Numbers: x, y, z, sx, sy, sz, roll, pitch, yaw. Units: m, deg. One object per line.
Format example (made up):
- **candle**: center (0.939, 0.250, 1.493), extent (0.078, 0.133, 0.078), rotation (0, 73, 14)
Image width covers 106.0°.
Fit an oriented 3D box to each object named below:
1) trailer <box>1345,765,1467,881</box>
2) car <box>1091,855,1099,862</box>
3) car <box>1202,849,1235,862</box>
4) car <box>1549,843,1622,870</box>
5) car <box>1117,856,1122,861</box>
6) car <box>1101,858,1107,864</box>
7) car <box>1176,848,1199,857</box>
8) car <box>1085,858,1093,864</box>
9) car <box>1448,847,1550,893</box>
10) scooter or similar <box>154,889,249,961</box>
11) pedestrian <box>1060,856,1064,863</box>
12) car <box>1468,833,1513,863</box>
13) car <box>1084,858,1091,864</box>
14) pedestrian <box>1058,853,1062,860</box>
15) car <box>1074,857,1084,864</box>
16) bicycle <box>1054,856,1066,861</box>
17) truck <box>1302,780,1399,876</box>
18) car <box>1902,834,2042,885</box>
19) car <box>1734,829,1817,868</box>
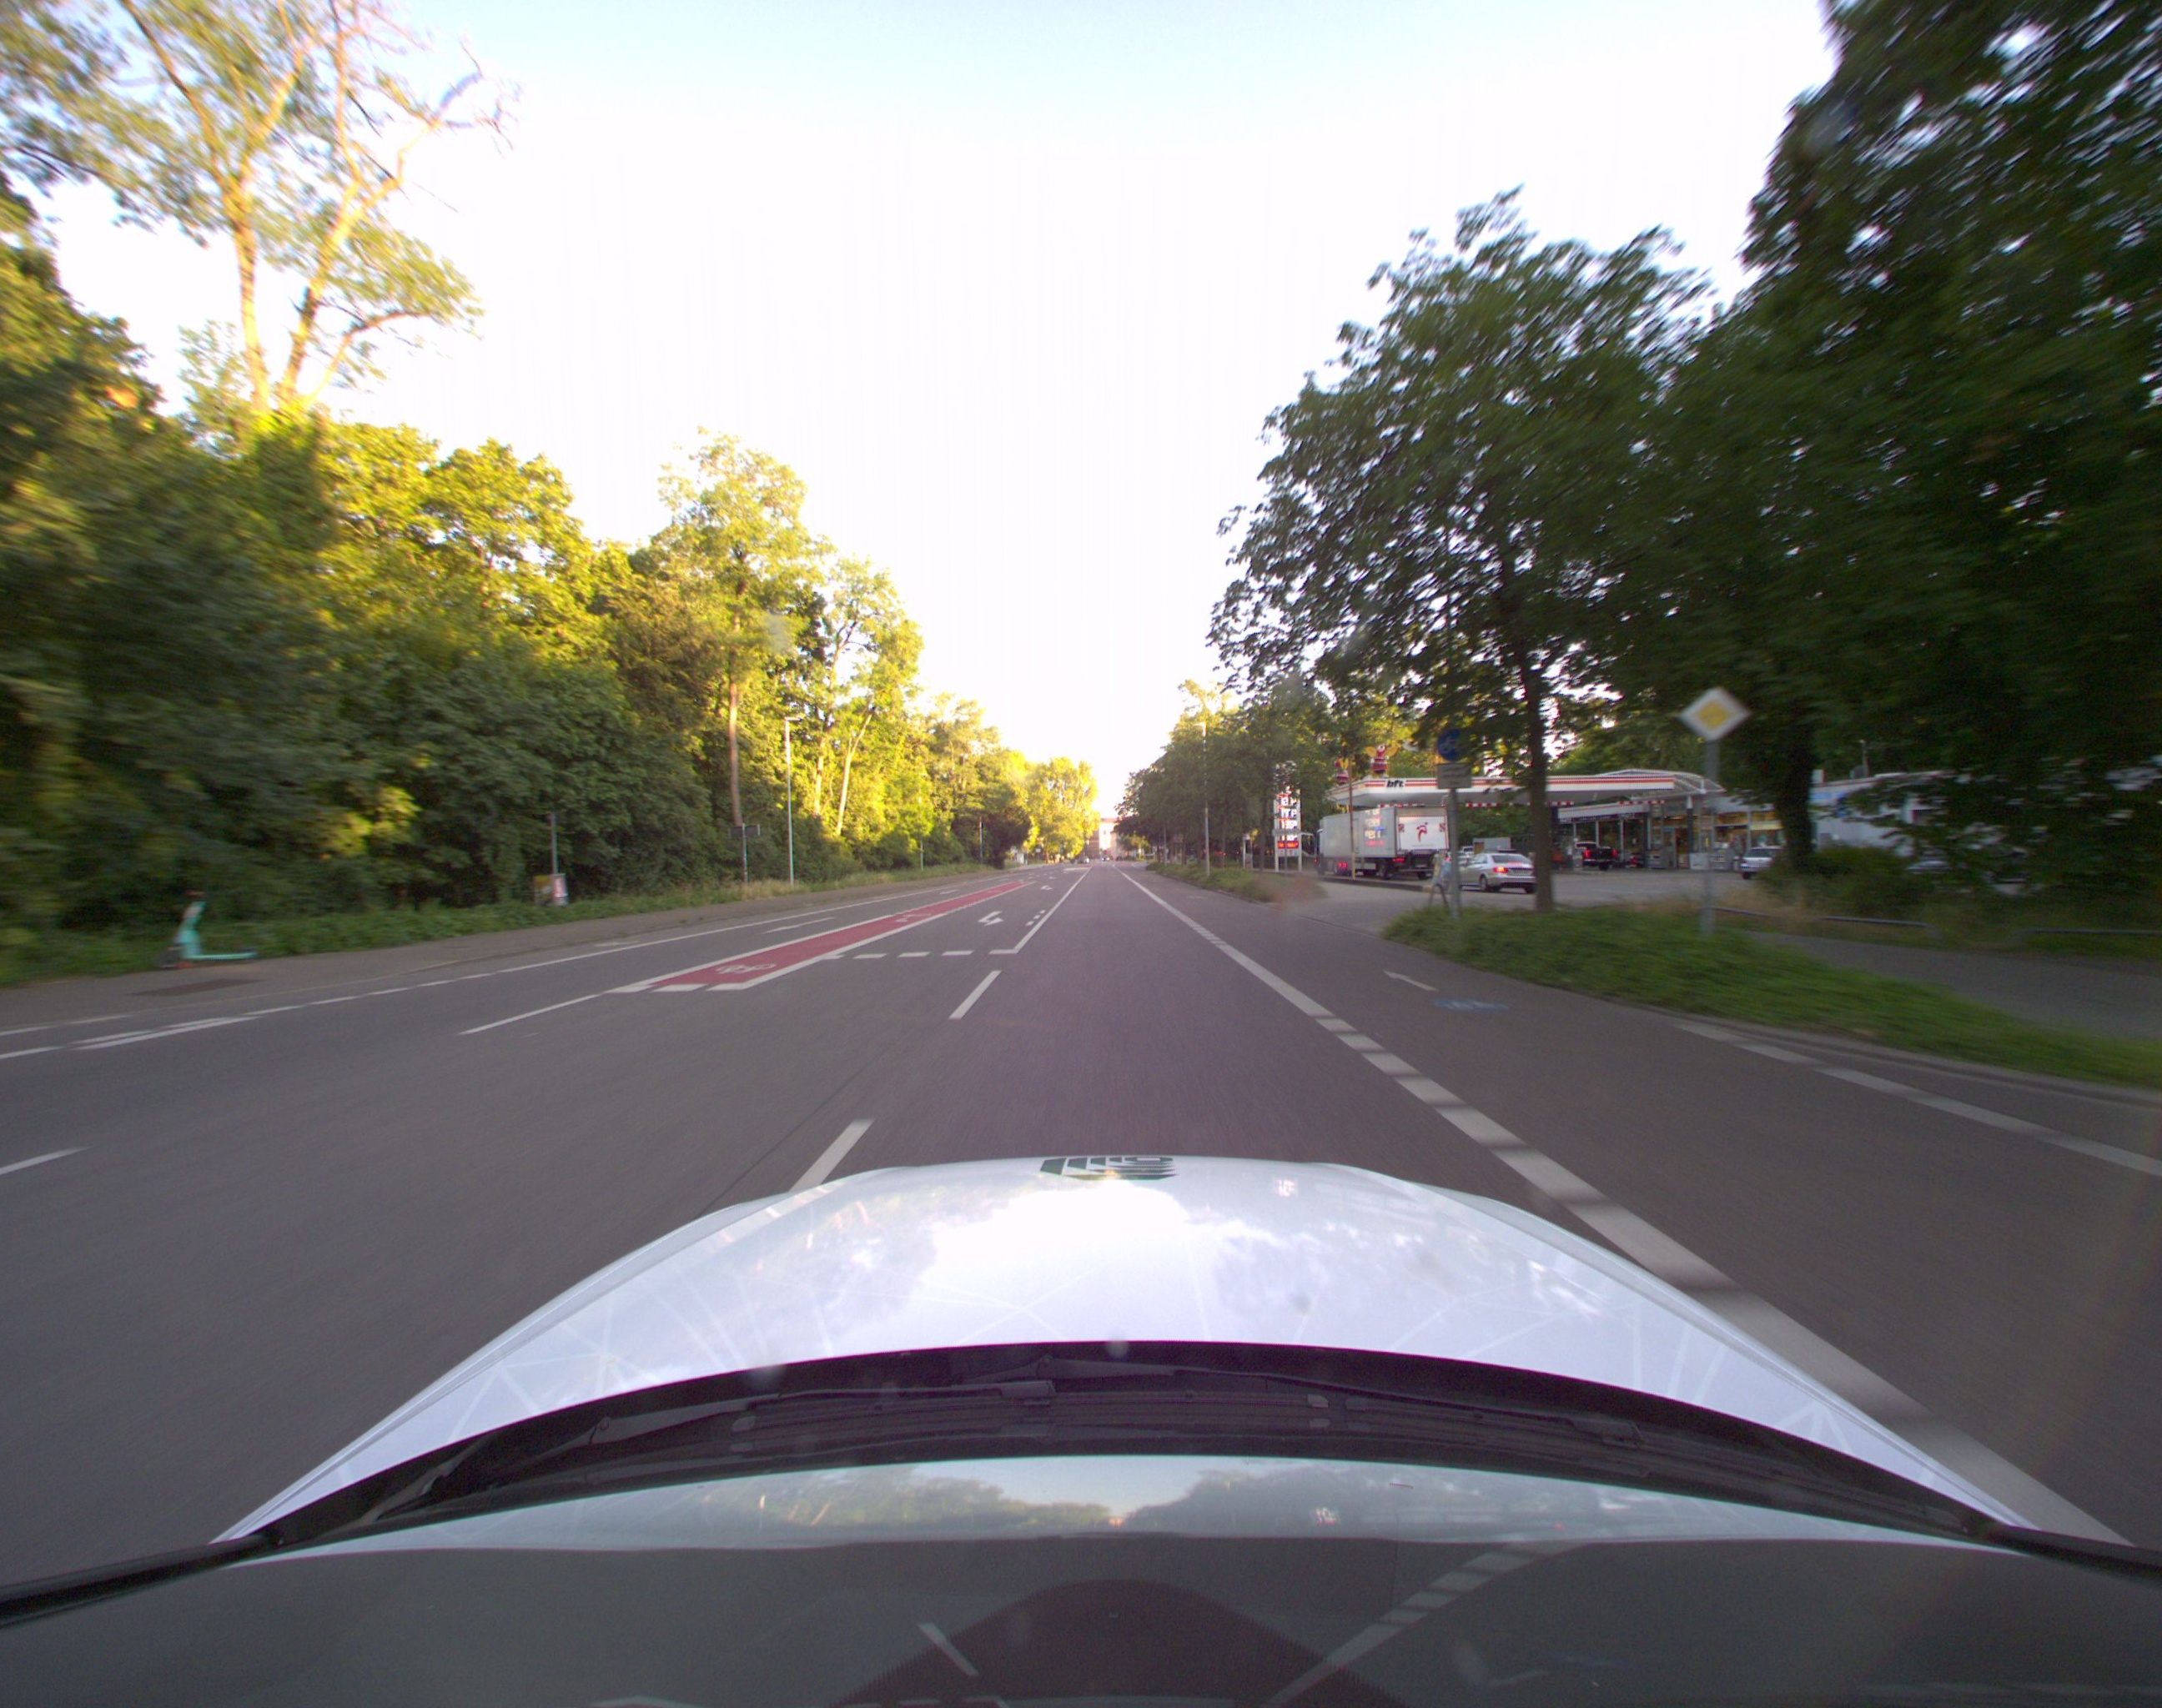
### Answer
- **trailer**: center (16.805, -1.499, 42.808), extent (3.012, 5.462, 7.930), rotation (-1, 0, -1)
- **car**: center (3.134, 1.064, 182.515), extent (1.487, 1.486, 3.492), rotation (-1, 0, 2)
- **car**: center (21.396, 0.246, 126.869), extent (4.882, 1.990, 1.927), rotation (-1, 0, 9)
- **car**: center (31.167, 0.142, 50.435), extent (1.978, 1.583, 4.628), rotation (0, 0, 5)
- **car**: center (10.924, 1.353, 232.609), extent (1.487, 1.486, 3.492), rotation (-1, 0, 2)
- **car**: center (6.421, 1.938, 228.055), extent (1.487, 1.486, 3.492), rotation (-1, 0, 2)
- **car**: center (21.394, -0.288, 163.823), extent (4.433, 1.590, 1.720), rotation (-1, 0, 9)
- **car**: center (1.868, 1.641, 191.268), extent (1.790, 1.453, 4.131), rotation (-1, 0, 4)
- **car**: center (15.730, 0.554, 30.923), extent (1.761, 1.583, 4.825), rotation (0, 0, 5)
- **scooter or similar**: center (-14.162, 1.124, 13.138), extent (0.901, 1.068, 0.492), rotation (-1, 0, -24)
- **pedestrian**: center (-4.357, 1.211, 188.460), extent (0.786, 1.580, 0.748), rotation (0, 0, 10)
- **car**: center (33.261, -0.458, 66.280), extent (1.761, 2.347, 4.628), rotation (0, 0, 5)
- **car**: center (1.421, 1.509, 173.068), extent (1.487, 1.291, 3.492), rotation (-1, 0, 2)
- **pedestrian**: center (-4.657, 0.515, 181.587), extent (0.786, 1.580, 0.748), rotation (0, 0, 10)
- **car**: center (-0.403, 1.392, 173.376), extent (1.790, 1.453, 4.131), rotation (-1, 0, 4)
- **bicycle**: center (-4.686, 0.999, 181.614), extent (2.447, 1.195, 0.759), rotation (-1, -1, 11)
- **truck**: center (16.629, -1.517, 50.948), extent (3.025, 5.455, 8.405), rotation (-1, 0, -1)
- **car**: center (30.614, 0.171, 27.979), extent (4.130, 1.522, 1.663), rotation (-2, -1, -18)
- **car**: center (30.874, -0.246, 36.190), extent (4.148, 1.522, 1.656), rotation (-2, -1, -33)
